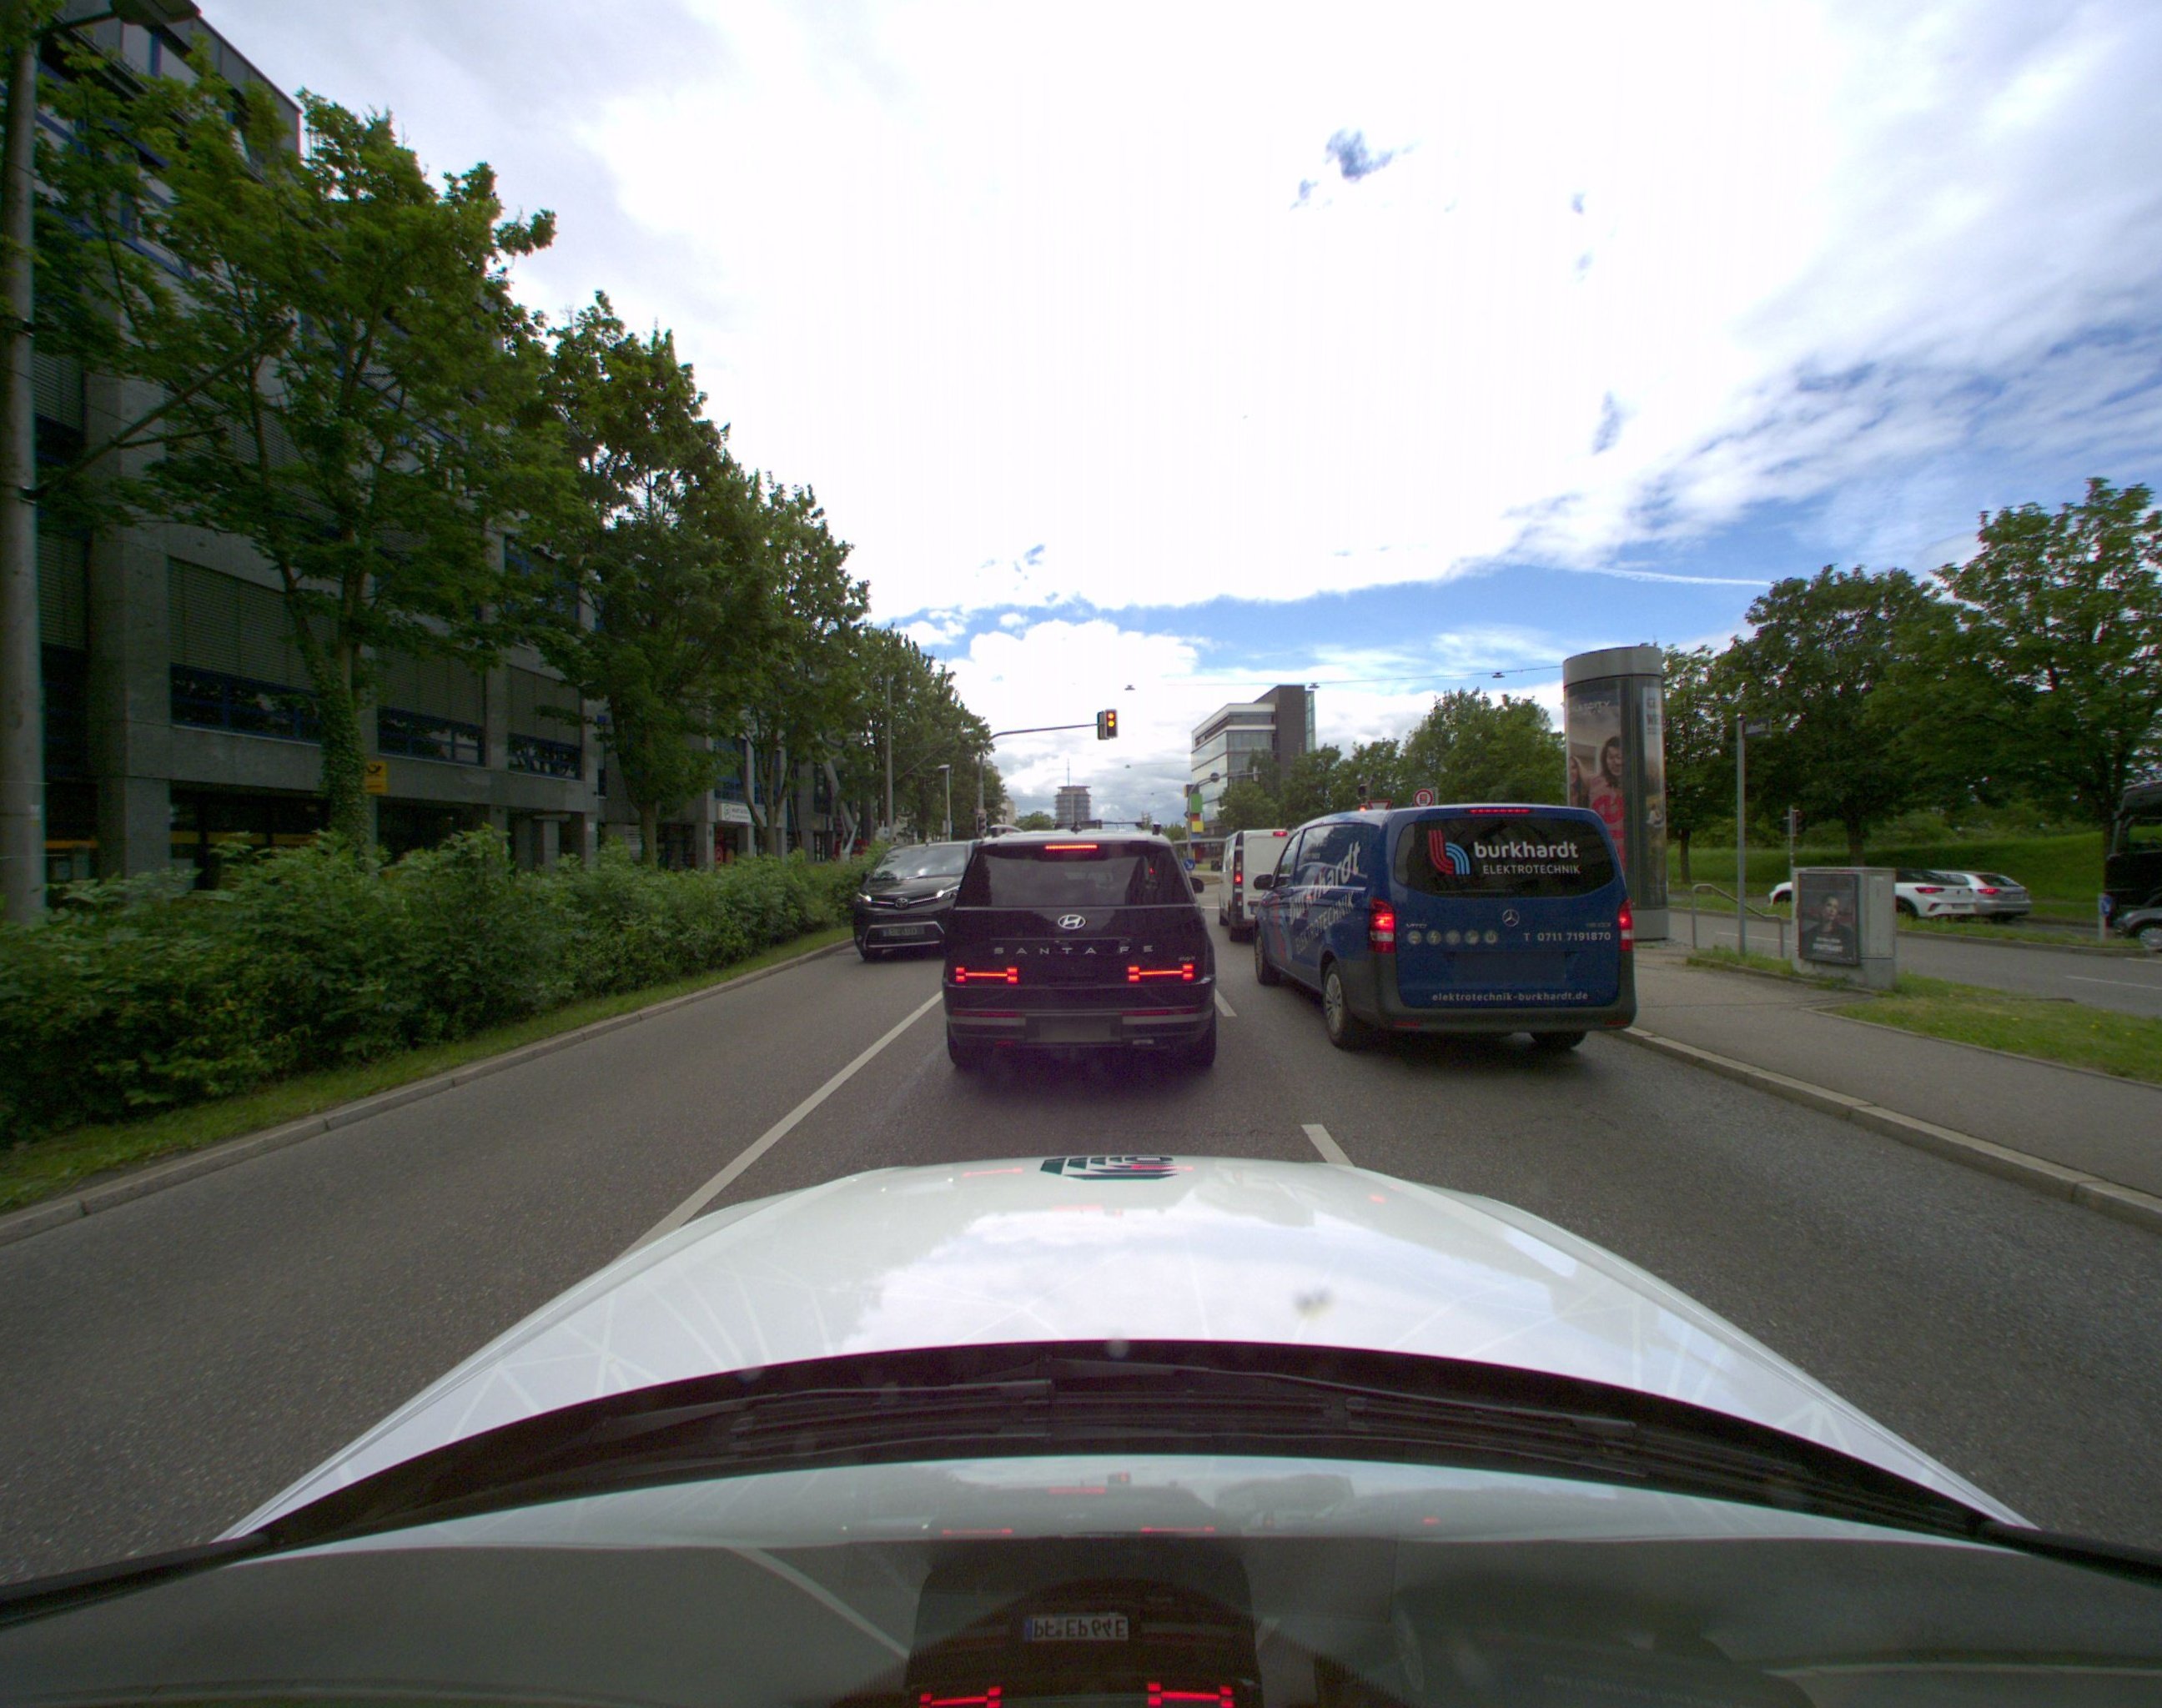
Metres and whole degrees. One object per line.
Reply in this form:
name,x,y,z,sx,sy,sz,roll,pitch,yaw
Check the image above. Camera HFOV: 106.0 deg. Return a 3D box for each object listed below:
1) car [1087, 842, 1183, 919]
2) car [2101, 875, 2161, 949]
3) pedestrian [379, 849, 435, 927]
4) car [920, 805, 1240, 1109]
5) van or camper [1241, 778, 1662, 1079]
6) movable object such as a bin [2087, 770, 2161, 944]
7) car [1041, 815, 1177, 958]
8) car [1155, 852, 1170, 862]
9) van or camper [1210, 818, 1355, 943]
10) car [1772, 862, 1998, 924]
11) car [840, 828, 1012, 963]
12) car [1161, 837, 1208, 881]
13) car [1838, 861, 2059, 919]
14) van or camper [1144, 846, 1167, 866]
car,1.481,0.630,20.544,1.764,1.717,4.353,-1,-1,12
car,23.009,1.213,15.538,1.994,1.453,3.985,1,0,-11
pedestrian,-16.776,0.838,20.277,0.771,1.894,0.731,-1,-1,1
car,0.055,0.616,6.786,1.862,1.760,3.881,-1,0,2
van or camper,2.905,0.487,7.816,1.853,1.911,5.034,-1,0,2
movable object such as a bin,26.264,0.004,15.519,2.860,3.903,8.536,-1,-1,-11
car,0.458,0.463,13.619,1.908,2.003,3.881,-1,0,2
car,13.175,0.509,131.726,1.987,1.684,3.998,-1,-1,-1
van or camper,3.639,0.429,15.551,1.984,2.013,4.659,-1,0,5
car,21.771,1.011,22.289,1.994,1.453,3.985,1,0,-11
car,-2.544,0.648,14.656,1.986,1.948,4.738,-3,-1,2
car,5.048,0.265,40.257,1.985,2.014,4.003,-1,-1,3
car,25.104,0.991,23.787,1.994,1.453,3.985,1,0,-11
van or camper,10.175,0.270,110.746,1.979,2.547,6.603,-1,-1,14
